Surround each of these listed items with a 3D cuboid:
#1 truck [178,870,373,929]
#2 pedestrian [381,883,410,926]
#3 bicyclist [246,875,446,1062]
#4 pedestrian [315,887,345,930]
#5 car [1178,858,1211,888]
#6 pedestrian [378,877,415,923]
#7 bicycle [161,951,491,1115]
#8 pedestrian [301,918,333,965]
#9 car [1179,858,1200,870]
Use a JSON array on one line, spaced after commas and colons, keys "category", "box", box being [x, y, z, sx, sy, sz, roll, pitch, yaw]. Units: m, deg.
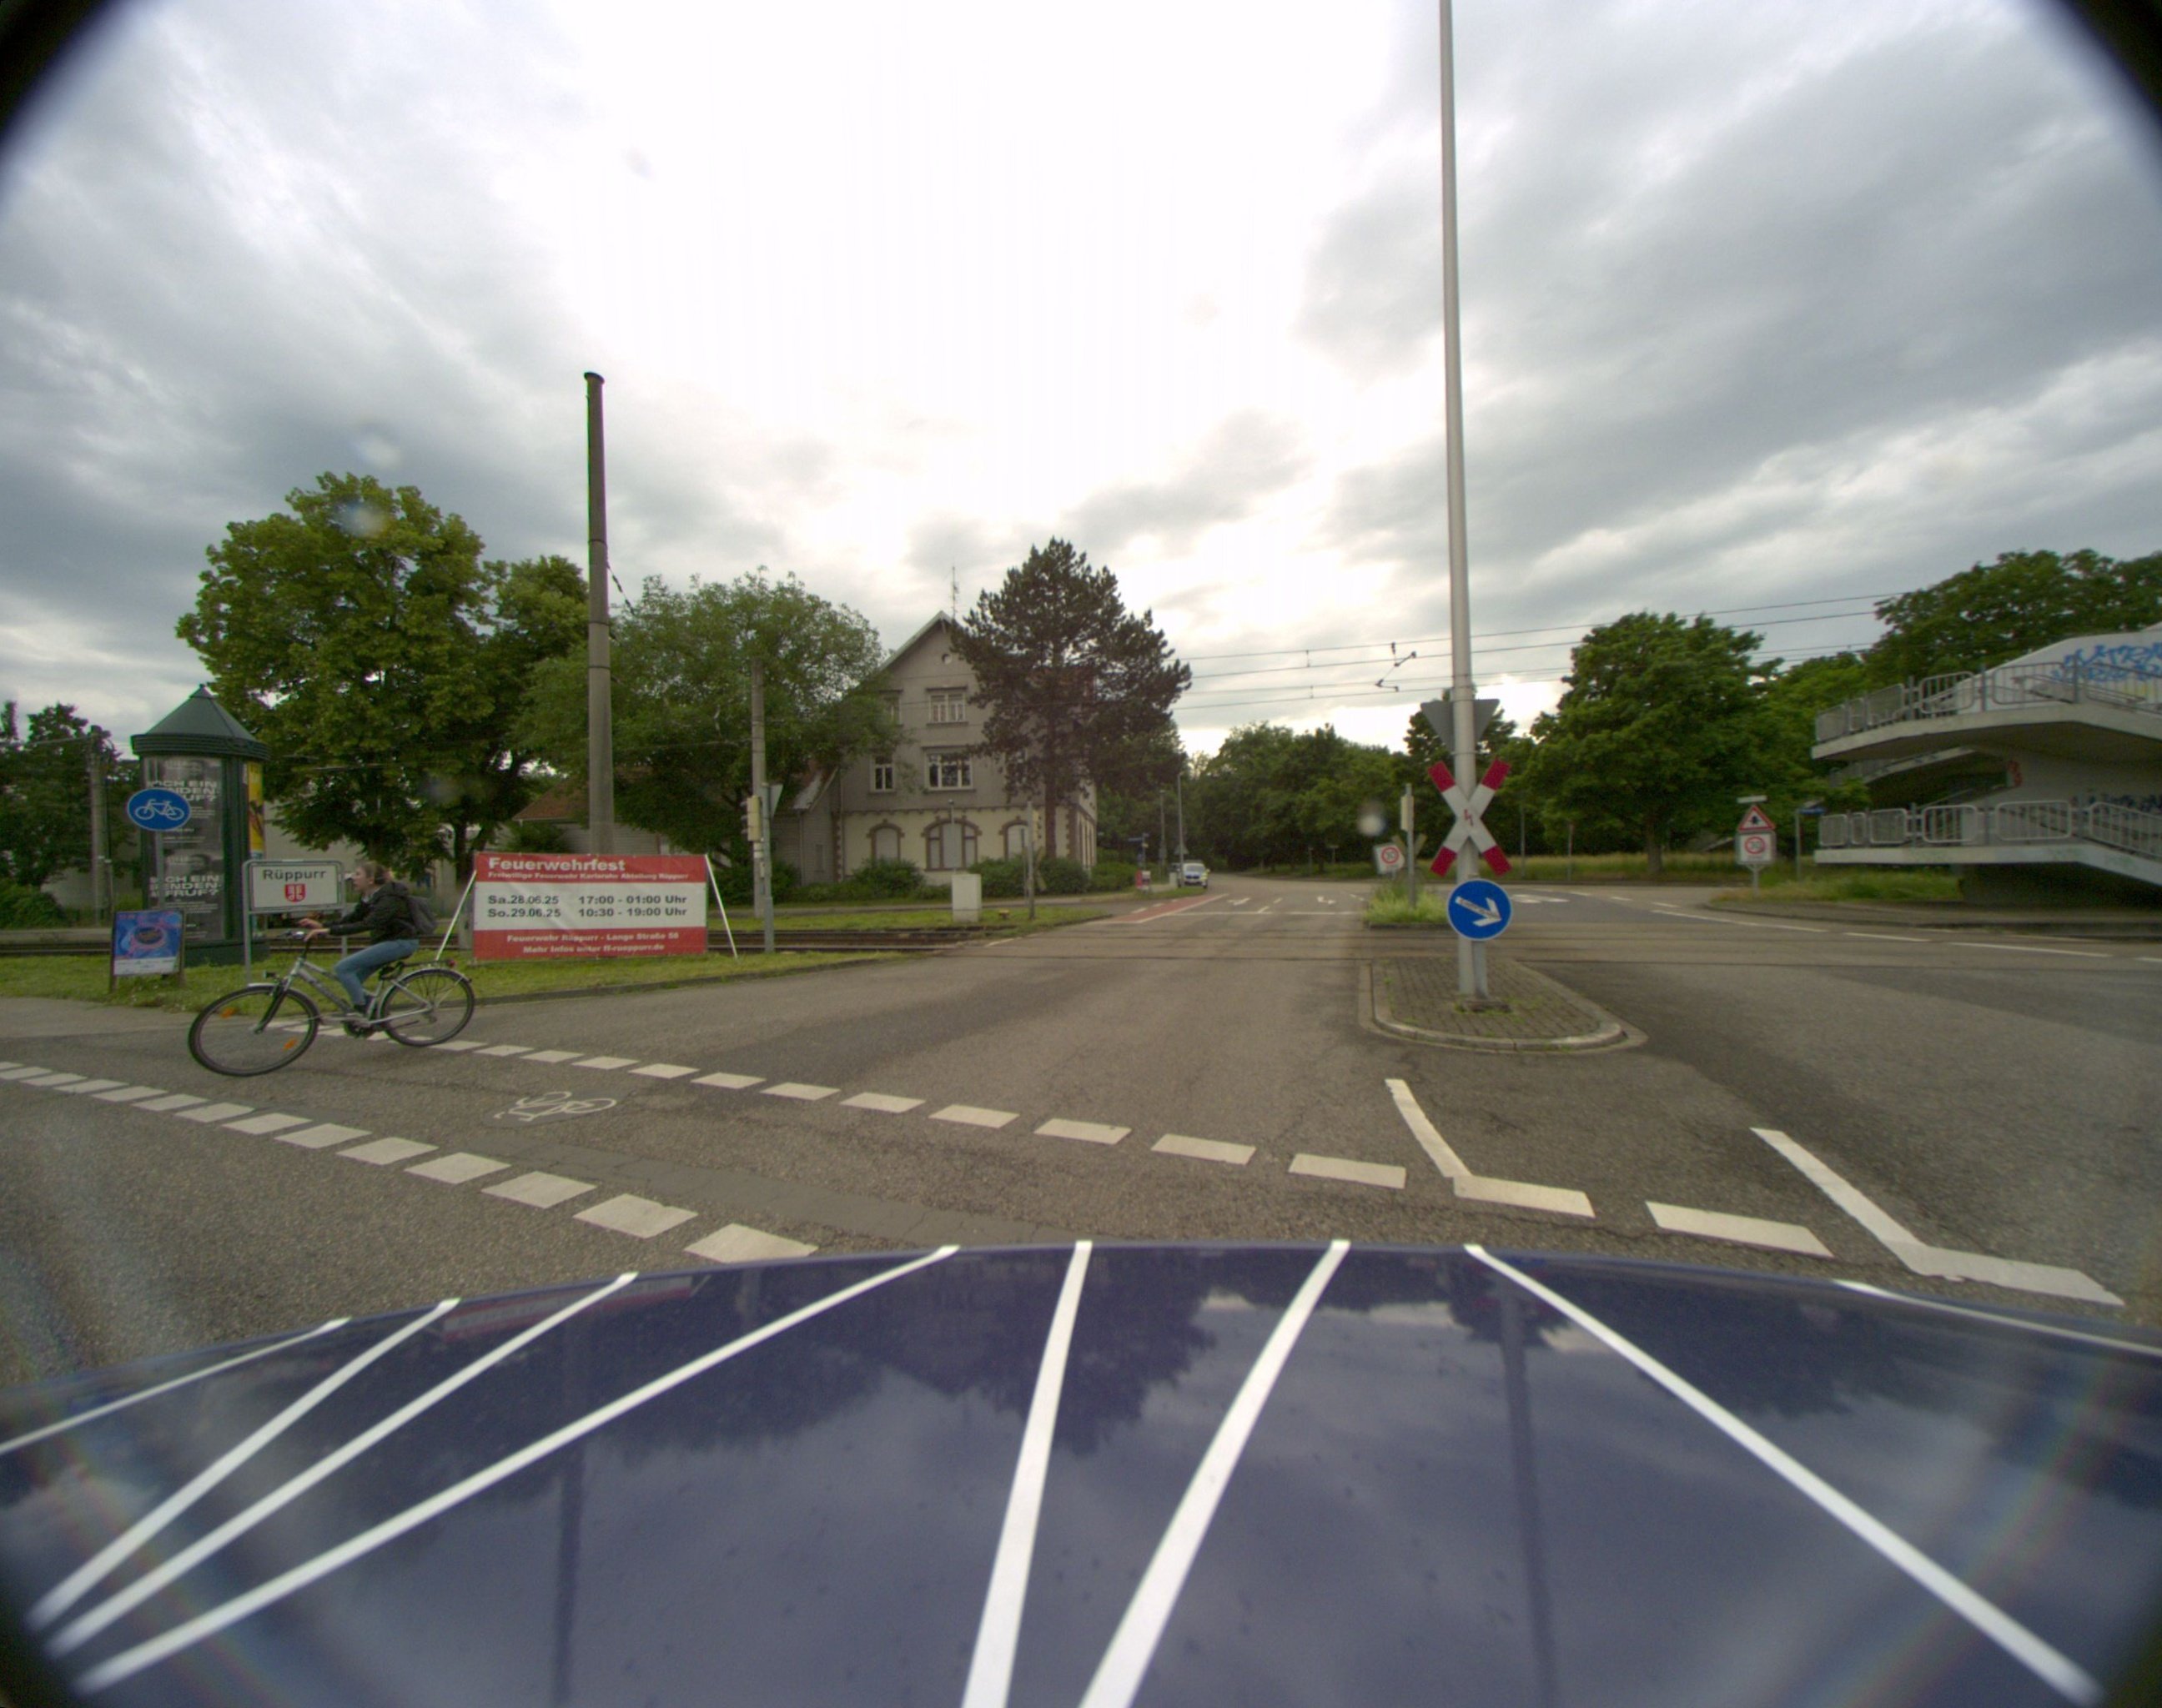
[{"category": "truck", "box": [-34.960, 1.957, 33.079, 6.402, 2.280, 2.607, -2, 0, 9]}, {"category": "pedestrian", "box": [-28.842, 2.123, 31.982, 0.575, 1.752, 0.636, -2, 0, -2]}, {"category": "bicyclist", "box": [-6.206, 0.928, 6.465, 0.622, 1.416, 0.962, -6, -1, 18]}, {"category": "pedestrian", "box": [-31.338, 2.262, 31.703, 0.575, 1.752, 0.636, -2, 0, -2]}, {"category": "car", "box": [7.234, 1.189, 48.595, 1.934, 1.839, 4.002, 0, 0, 6]}, {"category": "pedestrian", "box": [-28.252, 1.895, 31.369, 0.679, 1.843, 0.875, -2, -1, 21]}, {"category": "bicycle", "box": [-6.243, 1.417, 6.479, 0.383, 0.974, 2.033, -1, -2, 18]}, {"category": "pedestrian", "box": [-31.130, 3.554, 30.971, 0.713, 1.829, 0.608, -2, 0, -26]}, {"category": "car", "box": [17.304, 1.548, 121.378, 2.095, 1.846, 4.219, -2, 0, -8]}]
